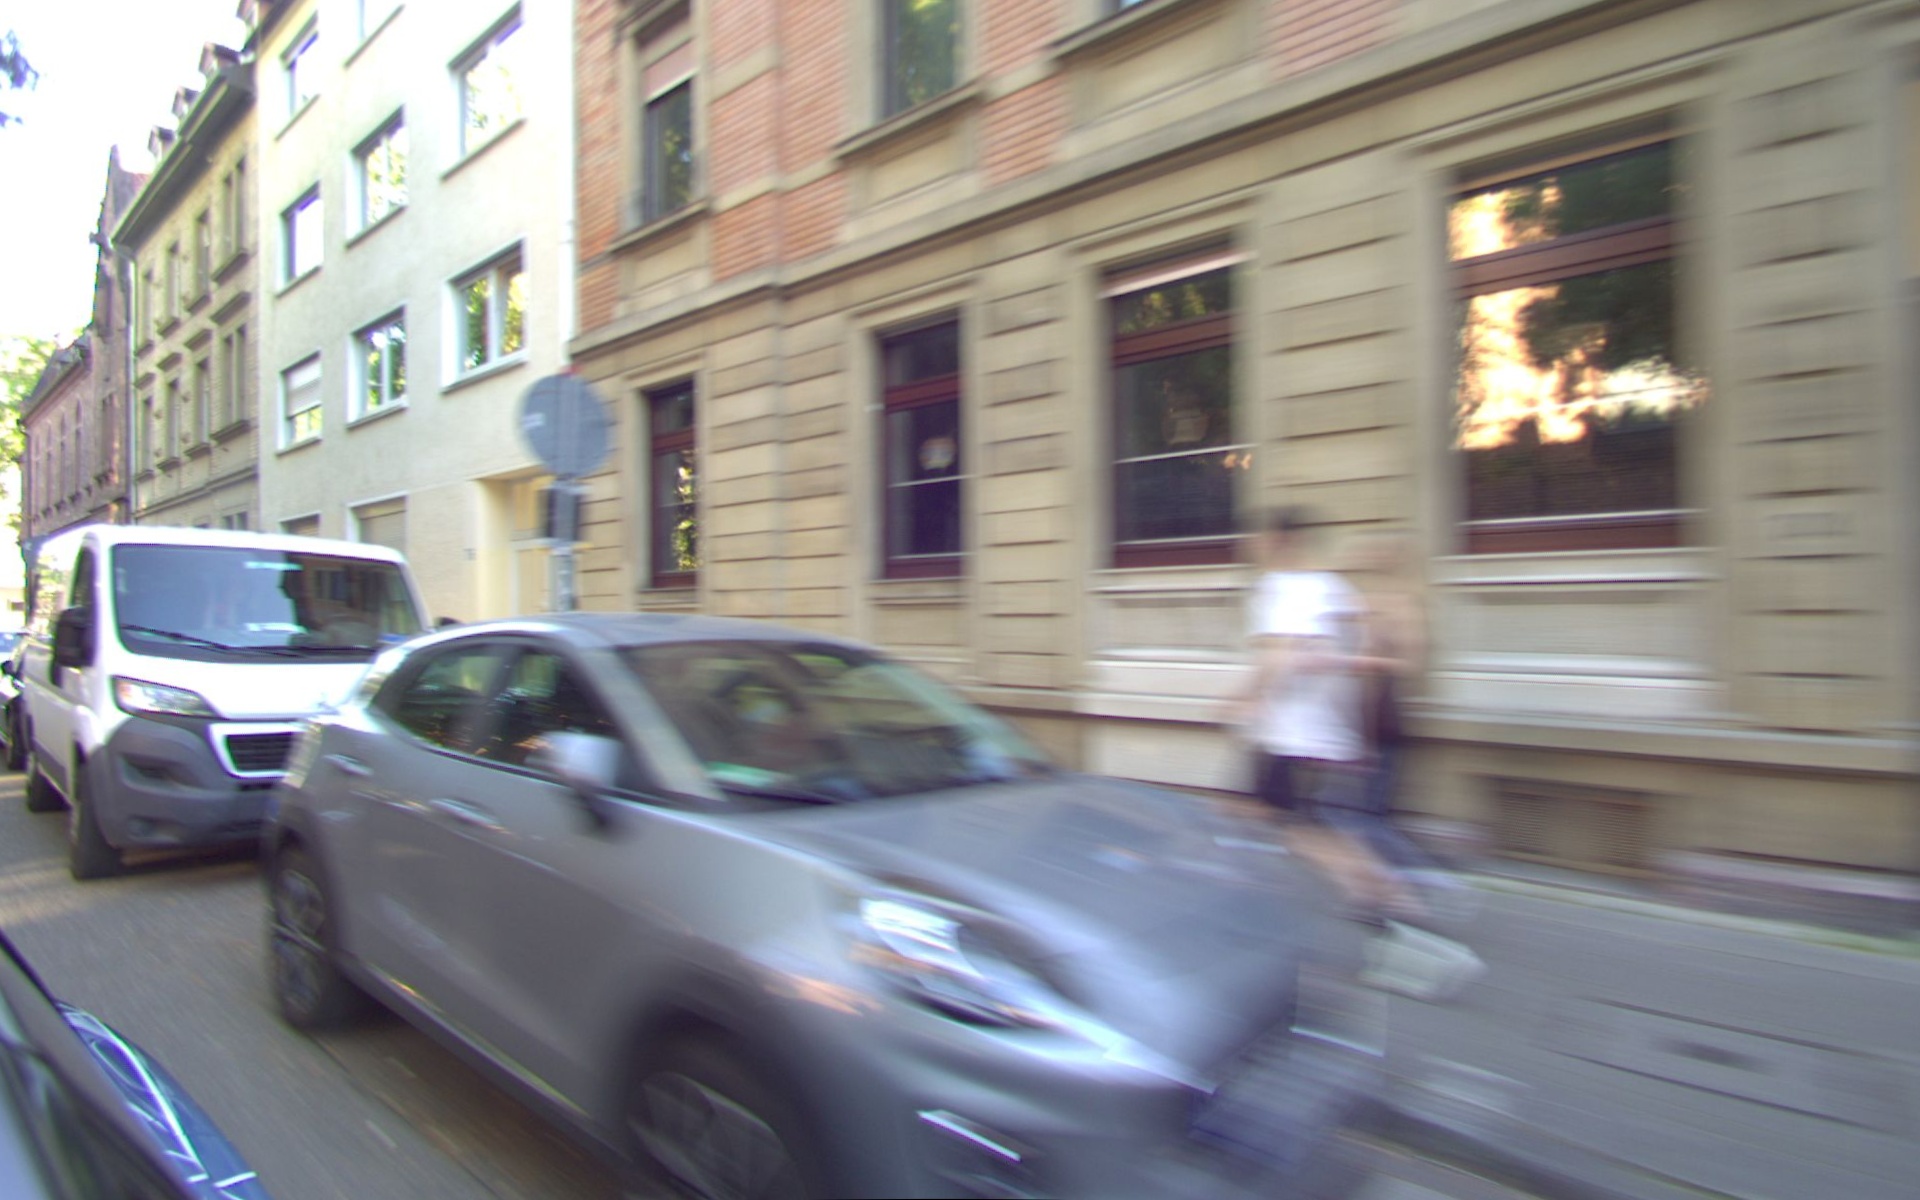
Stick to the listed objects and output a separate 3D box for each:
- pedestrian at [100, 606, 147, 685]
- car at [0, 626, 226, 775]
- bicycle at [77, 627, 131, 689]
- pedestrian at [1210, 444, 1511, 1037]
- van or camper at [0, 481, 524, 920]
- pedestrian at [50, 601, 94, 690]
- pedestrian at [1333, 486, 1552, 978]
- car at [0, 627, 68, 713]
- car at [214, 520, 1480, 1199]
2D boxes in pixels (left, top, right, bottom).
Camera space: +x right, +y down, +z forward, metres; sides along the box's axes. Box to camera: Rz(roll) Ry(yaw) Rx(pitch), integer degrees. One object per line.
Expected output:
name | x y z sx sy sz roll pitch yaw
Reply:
pedestrian | -20.910 1.116 25.307 0.762 1.943 0.759 -2 -1 38
car | -10.086 1.037 11.735 4.315 1.413 1.712 -2 -4 43
bicycle | -18.480 1.224 21.836 1.843 1.253 0.564 -2 1 41
pedestrian | 1.473 0.449 3.756 0.904 1.897 0.573 0 0 41
van or camper | -5.485 0.589 7.566 5.154 2.164 2.153 -2 -4 43
pedestrian | -18.797 0.952 21.421 1.114 1.816 0.483 -2 1 40
pedestrian | 1.983 0.477 4.150 0.649 1.785 0.693 0 0 41
car | -18.043 1.234 18.718 4.519 1.467 1.712 -2 -4 41
car | -0.799 0.737 3.343 4.190 1.526 1.748 -2 -4 41
